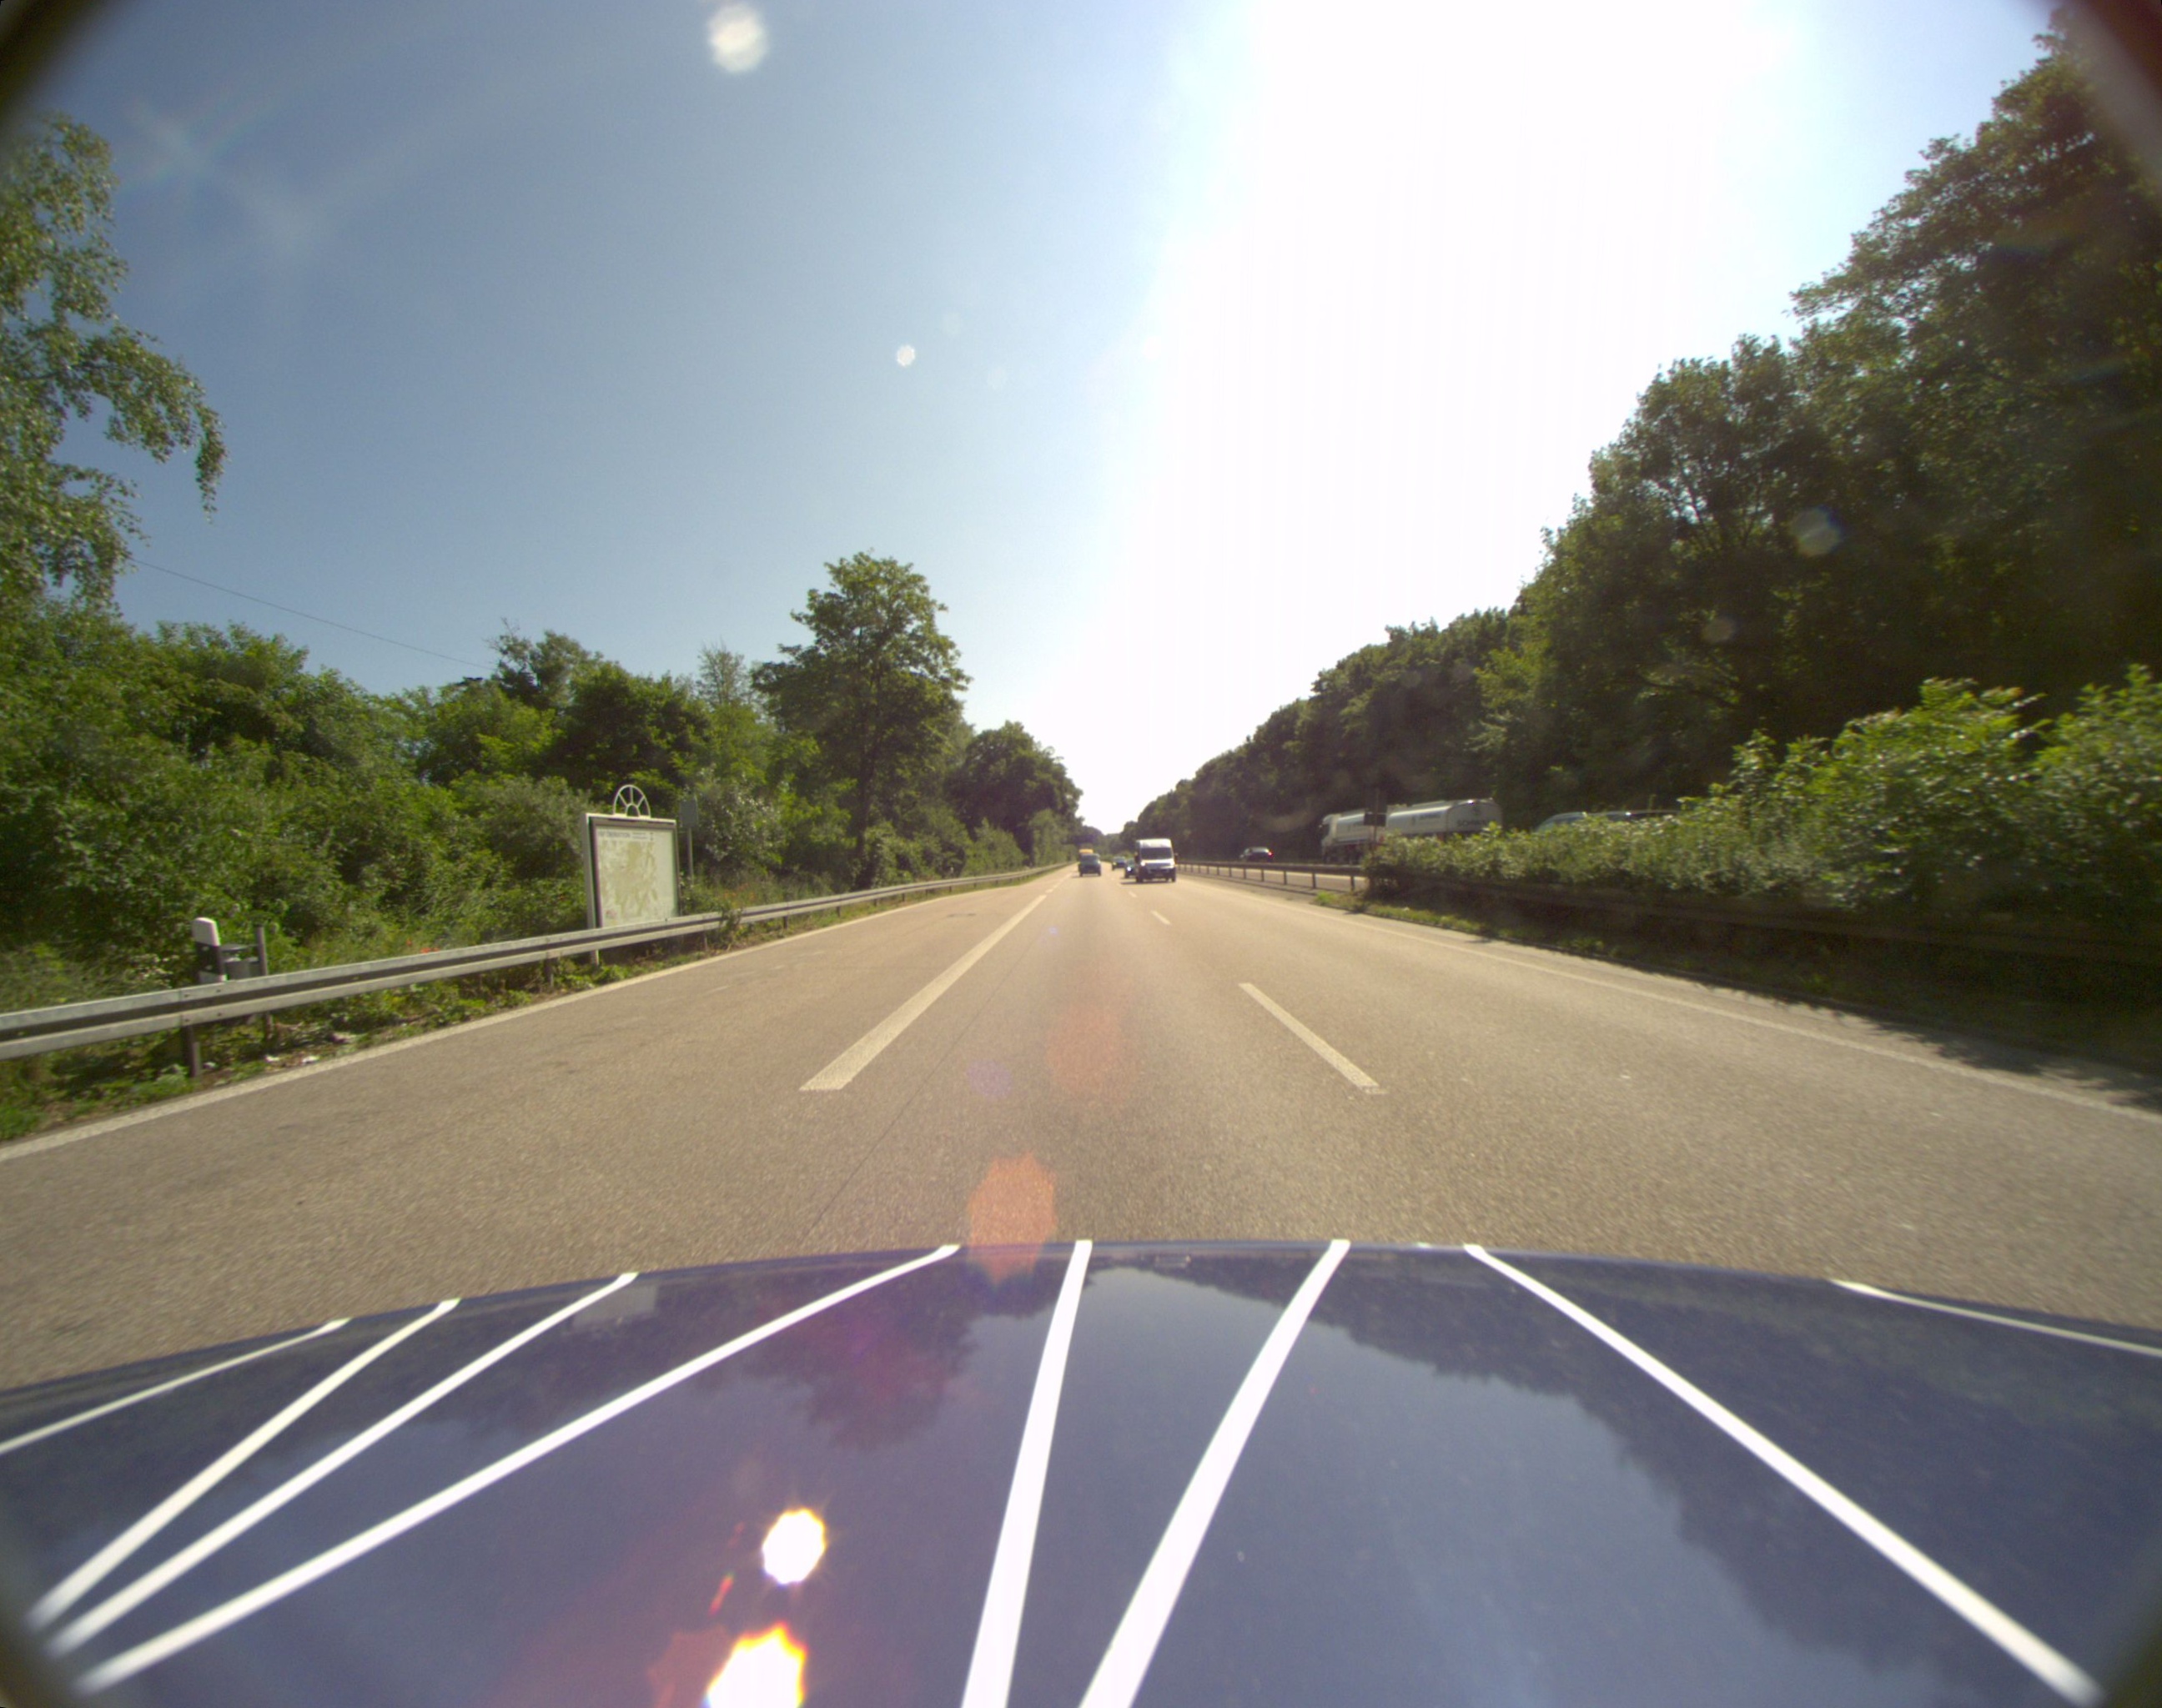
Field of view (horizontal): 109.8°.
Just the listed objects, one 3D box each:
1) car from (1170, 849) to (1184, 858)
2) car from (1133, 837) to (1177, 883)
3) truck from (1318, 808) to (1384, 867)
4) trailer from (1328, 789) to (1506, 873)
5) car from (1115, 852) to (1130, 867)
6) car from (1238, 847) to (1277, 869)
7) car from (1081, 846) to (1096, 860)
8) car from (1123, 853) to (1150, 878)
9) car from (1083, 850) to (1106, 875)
[{"bbox_3d":[17.849,-0.080,141.463,1.847,1.501,4.550,-3,0,-1],"label":"car"},{"bbox_3d":[4.225,0.348,43.975,2.046,2.429,4.638,-3,0,0],"label":"car"},{"bbox_3d":[15.894,-0.930,44.970,2.431,3.239,4.000,-3,0,1],"label":"truck"},{"bbox_3d":[15.760,-0.951,37.493,2.499,3.216,14.431,-3,0,1],"label":"trailer"},{"bbox_3d":[4.918,0.636,90.410,1.517,1.624,3.611,-3,0,1],"label":"car"},{"bbox_3d":[12.597,0.276,54.472,1.727,1.471,4.244,-3,0,0],"label":"car"},{"bbox_3d":[0.883,-0.088,93.765,1.737,1.624,3.899,-3,0,1],"label":"car"},{"bbox_3d":[3.971,0.797,54.754,1.666,1.624,3.644,-3,0,1],"label":"car"},{"bbox_3d":[1.092,0.706,62.862,1.812,1.921,4.581,-3,0,0],"label":"car"}]
